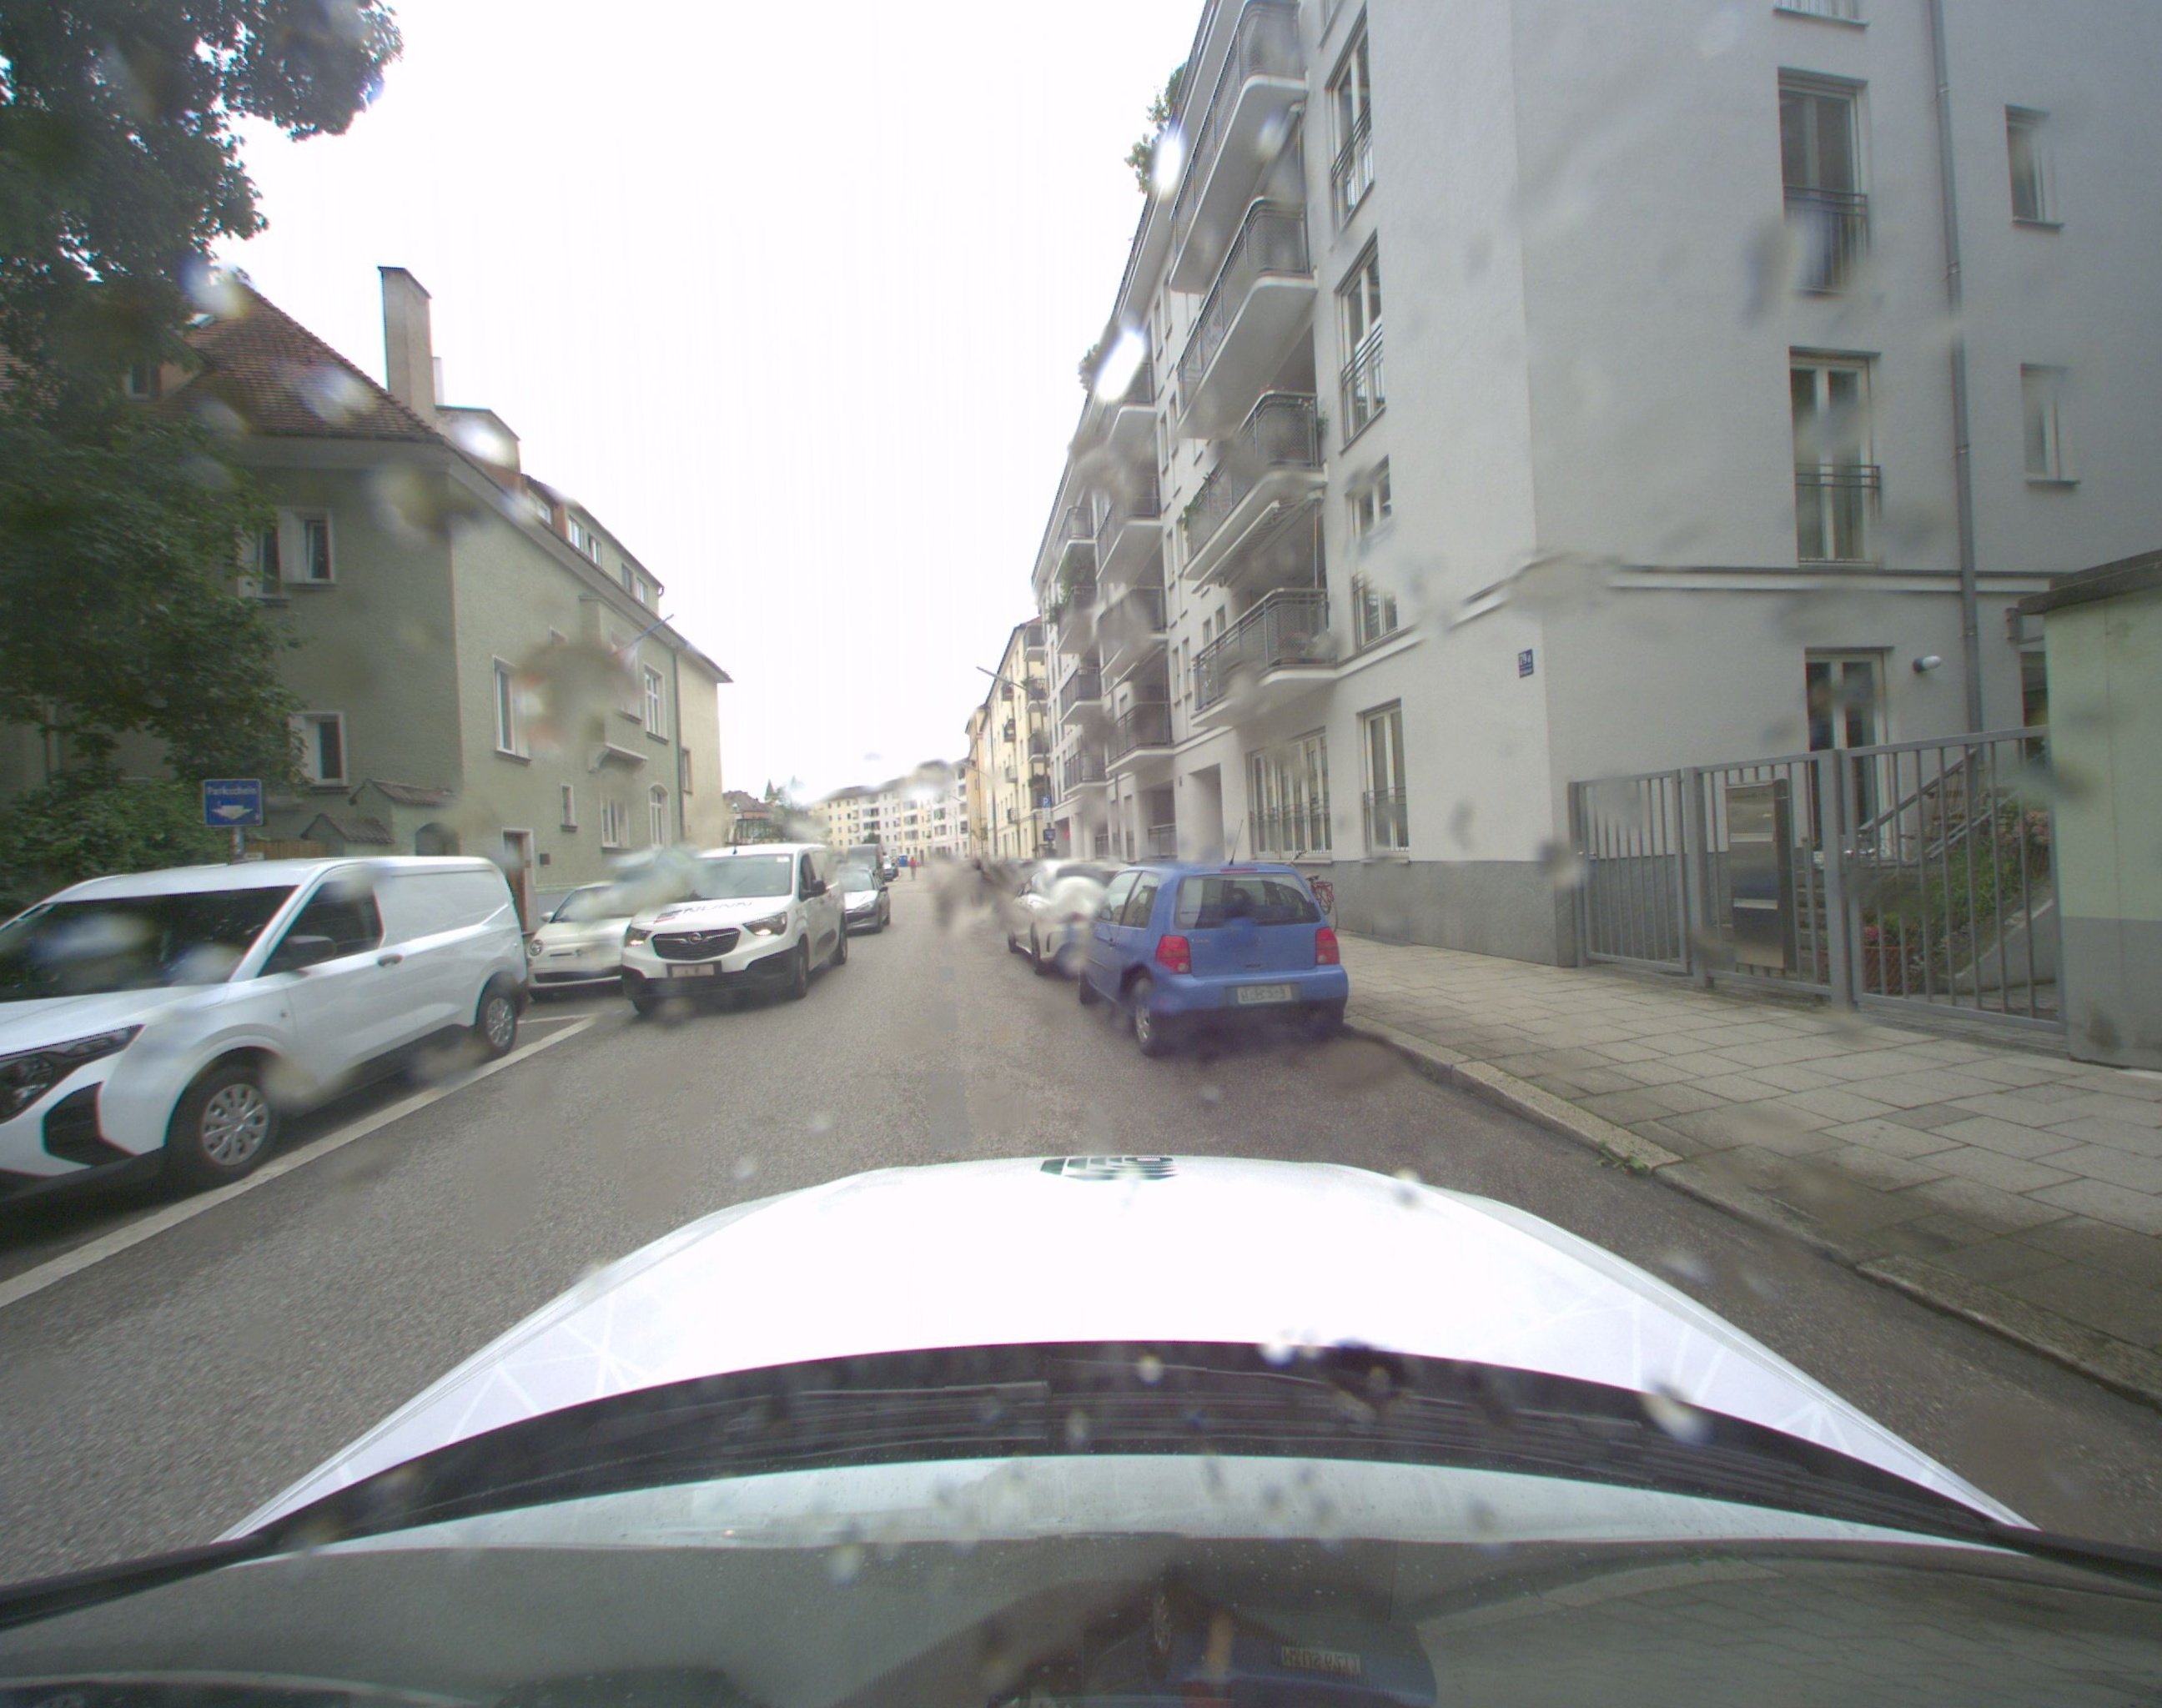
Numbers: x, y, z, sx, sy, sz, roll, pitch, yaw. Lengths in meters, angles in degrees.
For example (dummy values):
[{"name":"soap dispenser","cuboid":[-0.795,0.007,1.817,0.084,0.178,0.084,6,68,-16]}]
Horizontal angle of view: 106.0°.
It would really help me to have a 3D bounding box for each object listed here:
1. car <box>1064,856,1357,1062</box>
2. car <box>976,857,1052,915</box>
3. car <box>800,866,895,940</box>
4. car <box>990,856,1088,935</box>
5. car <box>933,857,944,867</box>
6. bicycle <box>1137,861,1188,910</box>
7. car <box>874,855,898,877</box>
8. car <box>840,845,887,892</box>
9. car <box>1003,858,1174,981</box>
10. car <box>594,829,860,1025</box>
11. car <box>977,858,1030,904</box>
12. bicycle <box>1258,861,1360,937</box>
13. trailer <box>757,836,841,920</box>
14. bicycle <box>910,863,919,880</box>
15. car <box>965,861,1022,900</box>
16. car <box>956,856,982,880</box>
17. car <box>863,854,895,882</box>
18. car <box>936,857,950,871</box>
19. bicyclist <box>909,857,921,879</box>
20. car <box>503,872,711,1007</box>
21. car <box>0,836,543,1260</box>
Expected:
[{"name":"car","cuboid":[0.913,0.757,7.578,1.619,1.412,3.541,-1,-1,-10]},{"name":"car","cuboid":[-2.105,0.873,24.314,1.735,1.530,4.603,0,0,-12]},{"name":"car","cuboid":[-5.159,1.013,18.385,1.581,1.411,3.600,-3,0,-9]},{"name":"car","cuboid":[-1.037,0.829,18.003,1.605,1.530,3.968,0,0,-12]},{"name":"car","cuboid":[-19.534,1.065,111.581,1.273,1.299,2.786,-2,0,-12]},{"name":"bicycle","cuboid":[2.047,0.771,20.830,0.628,1.160,2.118,-3,0,-12]},{"name":"car","cuboid":[-16.615,1.024,69.445,1.703,1.691,4.012,-5,1,-11]},{"name":"car","cuboid":[-13.112,0.816,49.420,2.087,2.636,5.360,-3,1,-9]},{"name":"car","cuboid":[-0.089,0.788,11.874,1.659,1.440,4.190,0,0,-12]},{"name":"car","cuboid":[-4.137,0.739,10.403,1.770,1.803,4.560,-4,0,-7]},{"name":"car","cuboid":[-2.836,0.922,29.189,1.520,1.530,3.513,-1,0,-11]},{"name":"bicycle","cuboid":[3.397,0.659,12.308,0.678,1.028,1.827,-3,-2,-11]},{"name":"trailer","cuboid":[-9.395,0.734,27.457,1.709,2.461,4.373,-5,1,-9]},{"name":"bicycle","cuboid":[-12.259,1.278,60.016,0.504,1.128,1.768,-4,0,-8]},{"name":"car","cuboid":[-3.630,1.029,33.205,1.765,1.408,4.060,-3,0,-13]},{"name":"car","cuboid":[-7.817,0.946,56.700,1.596,1.509,3.787,-3,0,-10]},{"name":"car","cuboid":[-15.390,1.023,62.111,1.883,1.931,4.585,-5,1,-10]},{"name":"car","cuboid":[-17.116,1.193,100.748,1.475,1.641,3.984,-1,0,-12]},{"name":"bicyclist","cuboid":[-12.262,1.001,60.020,0.693,1.561,0.964,-4,0,-8]},{"name":"car","cuboid":[-6.533,1.076,11.612,1.474,1.466,3.300,-4,0,-12]},{"name":"car","cuboid":[-5.543,0.896,5.439,1.691,1.803,4.129,-5,1,-11]}]
